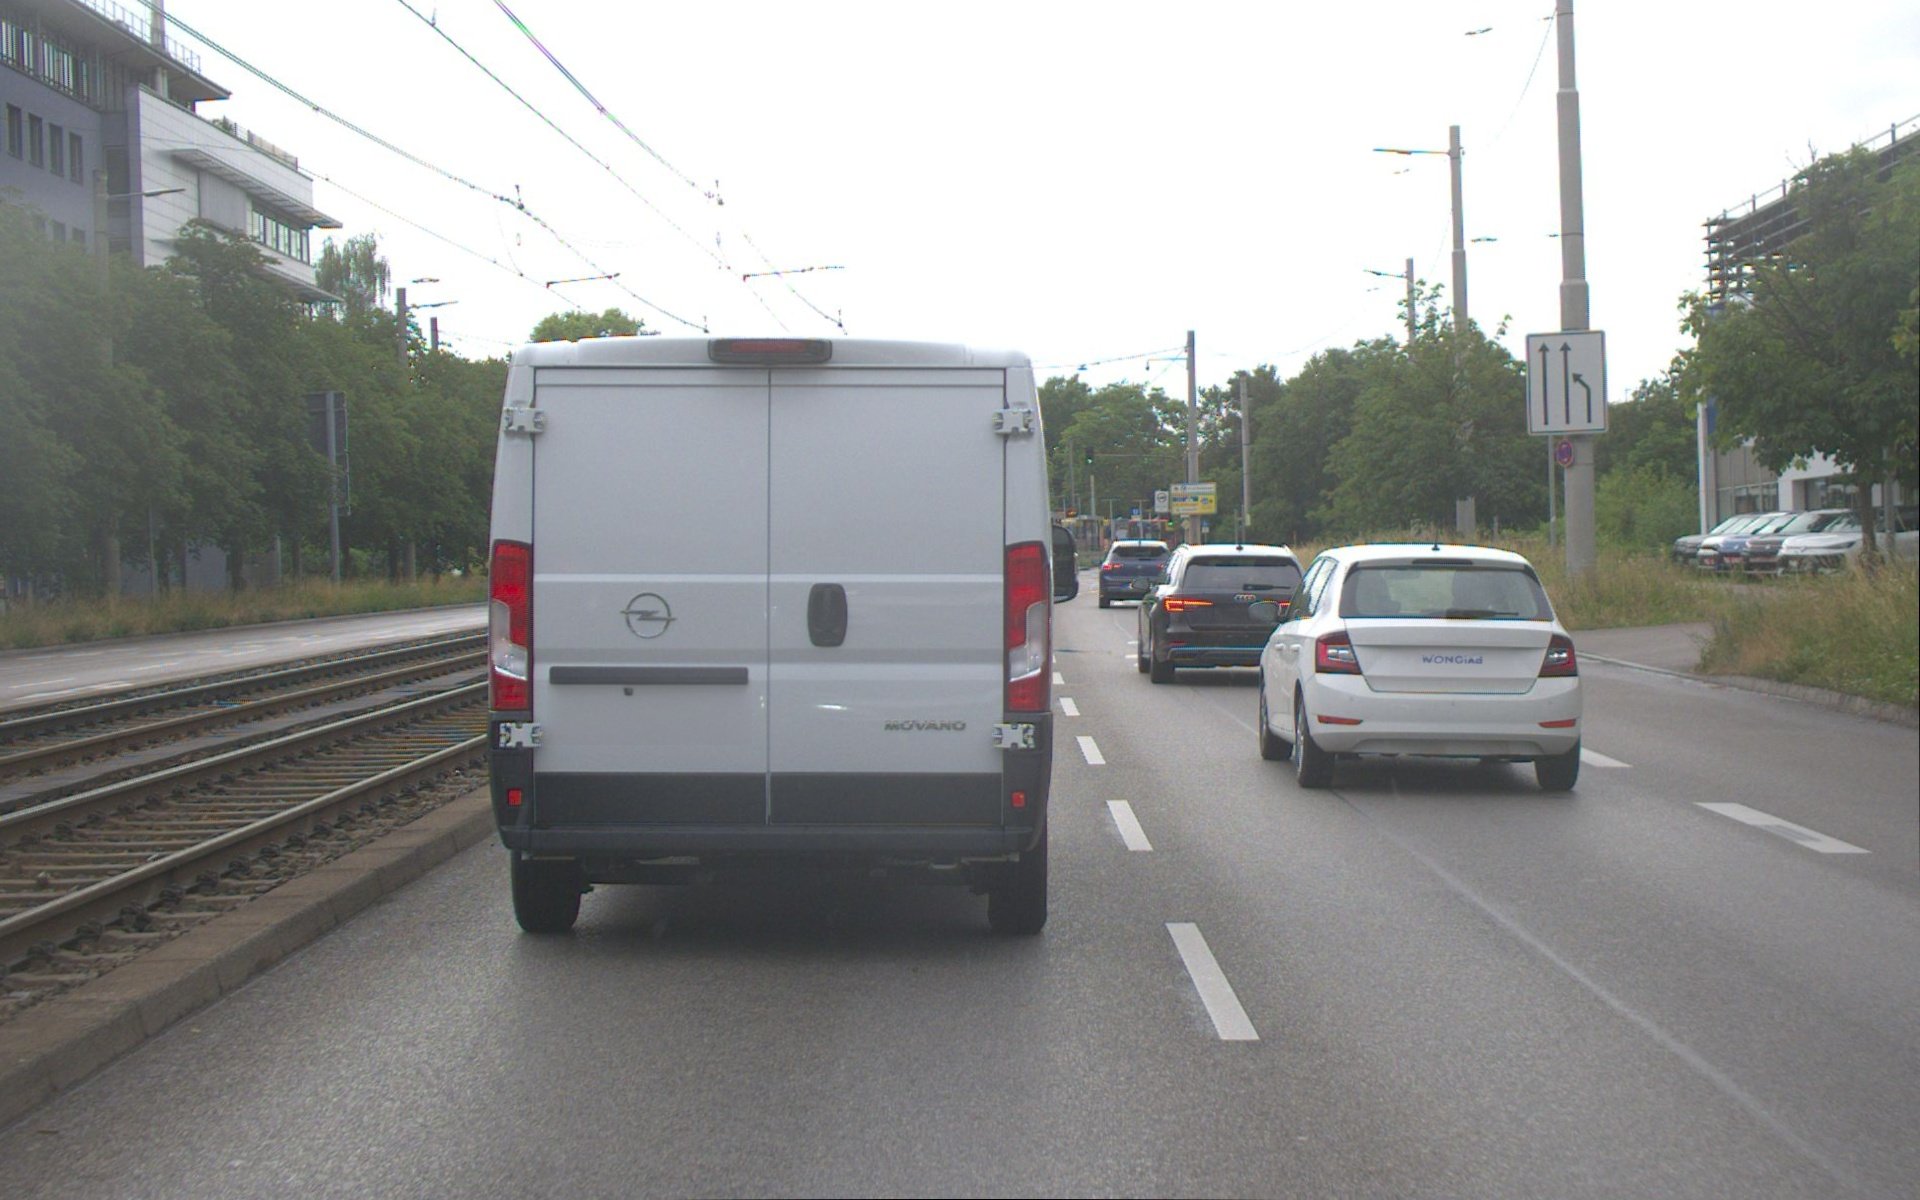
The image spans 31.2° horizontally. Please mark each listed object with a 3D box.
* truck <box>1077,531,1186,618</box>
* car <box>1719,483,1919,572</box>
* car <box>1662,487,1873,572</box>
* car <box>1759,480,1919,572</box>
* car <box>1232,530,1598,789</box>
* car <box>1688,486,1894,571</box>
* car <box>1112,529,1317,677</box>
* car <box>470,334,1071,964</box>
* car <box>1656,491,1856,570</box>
[{"bbox_3d":[3.695,-0.586,74.860,1.993,1.784,4.414,-2,1,-1],"label":"truck"},{"bbox_3d":[17.366,-1.473,69.256,4.178,1.563,1.798,-4,0,-39],"label":"car"},{"bbox_3d":[17.926,-1.563,76.278,4.340,1.620,1.856,-3,0,-29],"label":"car"},{"bbox_3d":[17.272,-1.439,65.218,4.087,1.563,1.799,-4,0,-35],"label":"car"},{"bbox_3d":[2.751,0.305,21.524,1.746,1.452,3.671,1,1,-1],"label":"car"},{"bbox_3d":[17.641,-1.526,72.944,4.177,1.563,1.799,-4,0,-34],"label":"car"},{"bbox_3d":[2.593,0.003,35.819,1.789,1.444,4.000,0,1,-1],"label":"car"},{"bbox_3d":[-0.643,0.108,14.531,2.090,2.189,5.061,0,1,0],"label":"car"},{"bbox_3d":[18.428,-1.602,79.565,4.361,1.563,1.799,-4,0,-30],"label":"car"}]
